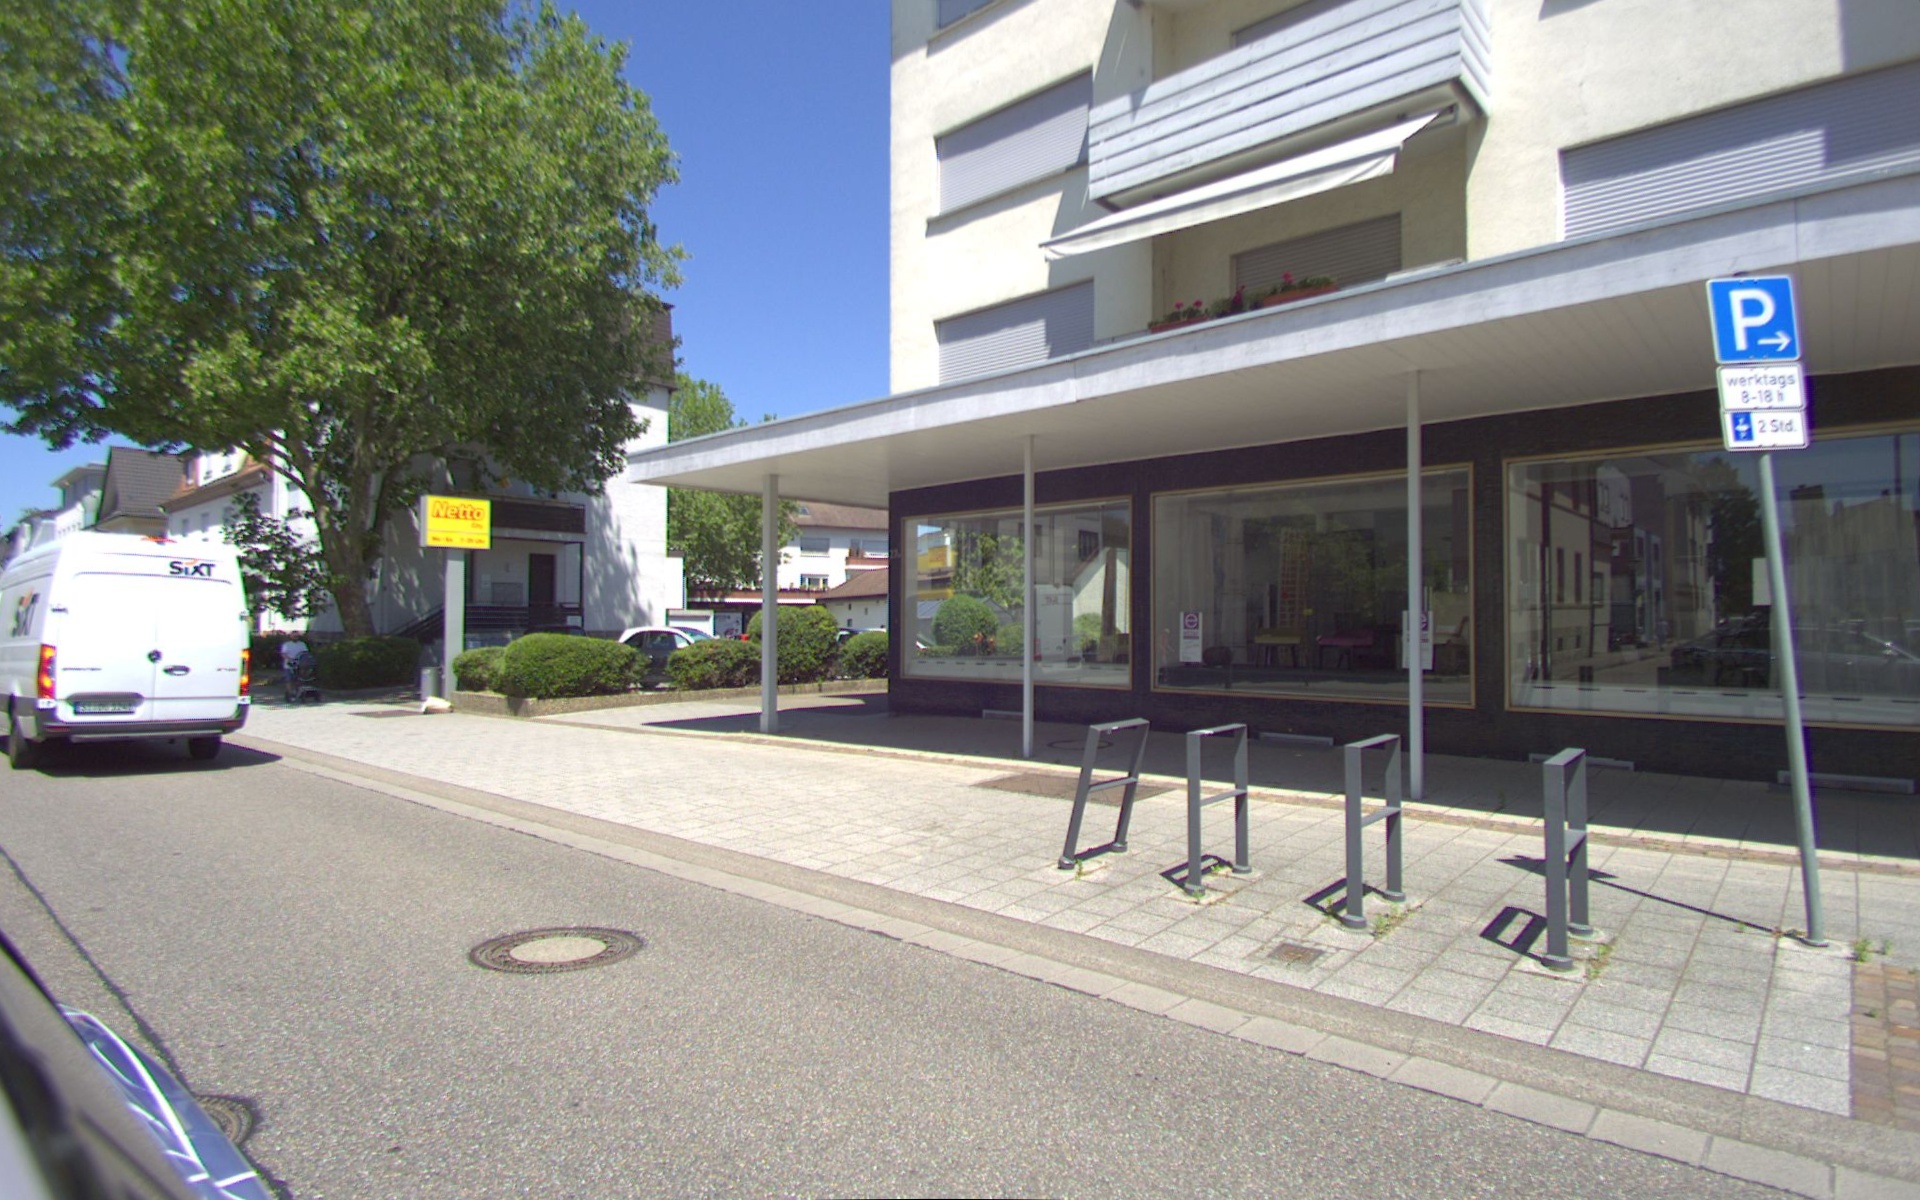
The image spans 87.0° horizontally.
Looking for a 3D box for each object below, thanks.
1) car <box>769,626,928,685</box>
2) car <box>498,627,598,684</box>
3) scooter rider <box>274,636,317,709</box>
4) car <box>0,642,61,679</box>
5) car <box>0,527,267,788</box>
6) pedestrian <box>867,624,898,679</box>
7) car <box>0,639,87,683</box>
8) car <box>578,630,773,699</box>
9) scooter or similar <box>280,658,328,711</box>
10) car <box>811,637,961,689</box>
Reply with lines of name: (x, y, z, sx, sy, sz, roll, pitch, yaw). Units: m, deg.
car: (-2.959, 1.473, 26.856, 3.907, 1.474, 1.736, -1, -3, 25)
car: (-12.131, 1.588, 29.647, 1.782, 1.557, 4.115, 2, -3, -35)
scooter rider: (-15.013, 1.629, 22.848, 0.877, 1.587, 0.582, -3, -1, 43)
car: (-38.070, 2.409, 41.026, 5.097, 1.384, 1.921, -2, -2, 42)
car: (-11.524, 0.729, 13.389, 7.102, 2.650, 2.015, -2, -4, 41)
pedestrian: (-2.345, 1.547, 30.673, 0.714, 1.639, 0.679, -2, -2, 25)
car: (-33.580, 2.183, 36.950, 5.356, 1.463, 1.960, -2, -2, 42)
car: (-6.529, 1.460, 23.410, 3.953, 1.498, 1.890, -1, -2, 12)
scooter or similar: (-14.524, 1.850, 22.400, 1.028, 1.106, 0.656, -3, -1, 43)
car: (-2.112, 1.811, 29.188, 4.000, 1.445, 1.767, -1, -4, 16)
